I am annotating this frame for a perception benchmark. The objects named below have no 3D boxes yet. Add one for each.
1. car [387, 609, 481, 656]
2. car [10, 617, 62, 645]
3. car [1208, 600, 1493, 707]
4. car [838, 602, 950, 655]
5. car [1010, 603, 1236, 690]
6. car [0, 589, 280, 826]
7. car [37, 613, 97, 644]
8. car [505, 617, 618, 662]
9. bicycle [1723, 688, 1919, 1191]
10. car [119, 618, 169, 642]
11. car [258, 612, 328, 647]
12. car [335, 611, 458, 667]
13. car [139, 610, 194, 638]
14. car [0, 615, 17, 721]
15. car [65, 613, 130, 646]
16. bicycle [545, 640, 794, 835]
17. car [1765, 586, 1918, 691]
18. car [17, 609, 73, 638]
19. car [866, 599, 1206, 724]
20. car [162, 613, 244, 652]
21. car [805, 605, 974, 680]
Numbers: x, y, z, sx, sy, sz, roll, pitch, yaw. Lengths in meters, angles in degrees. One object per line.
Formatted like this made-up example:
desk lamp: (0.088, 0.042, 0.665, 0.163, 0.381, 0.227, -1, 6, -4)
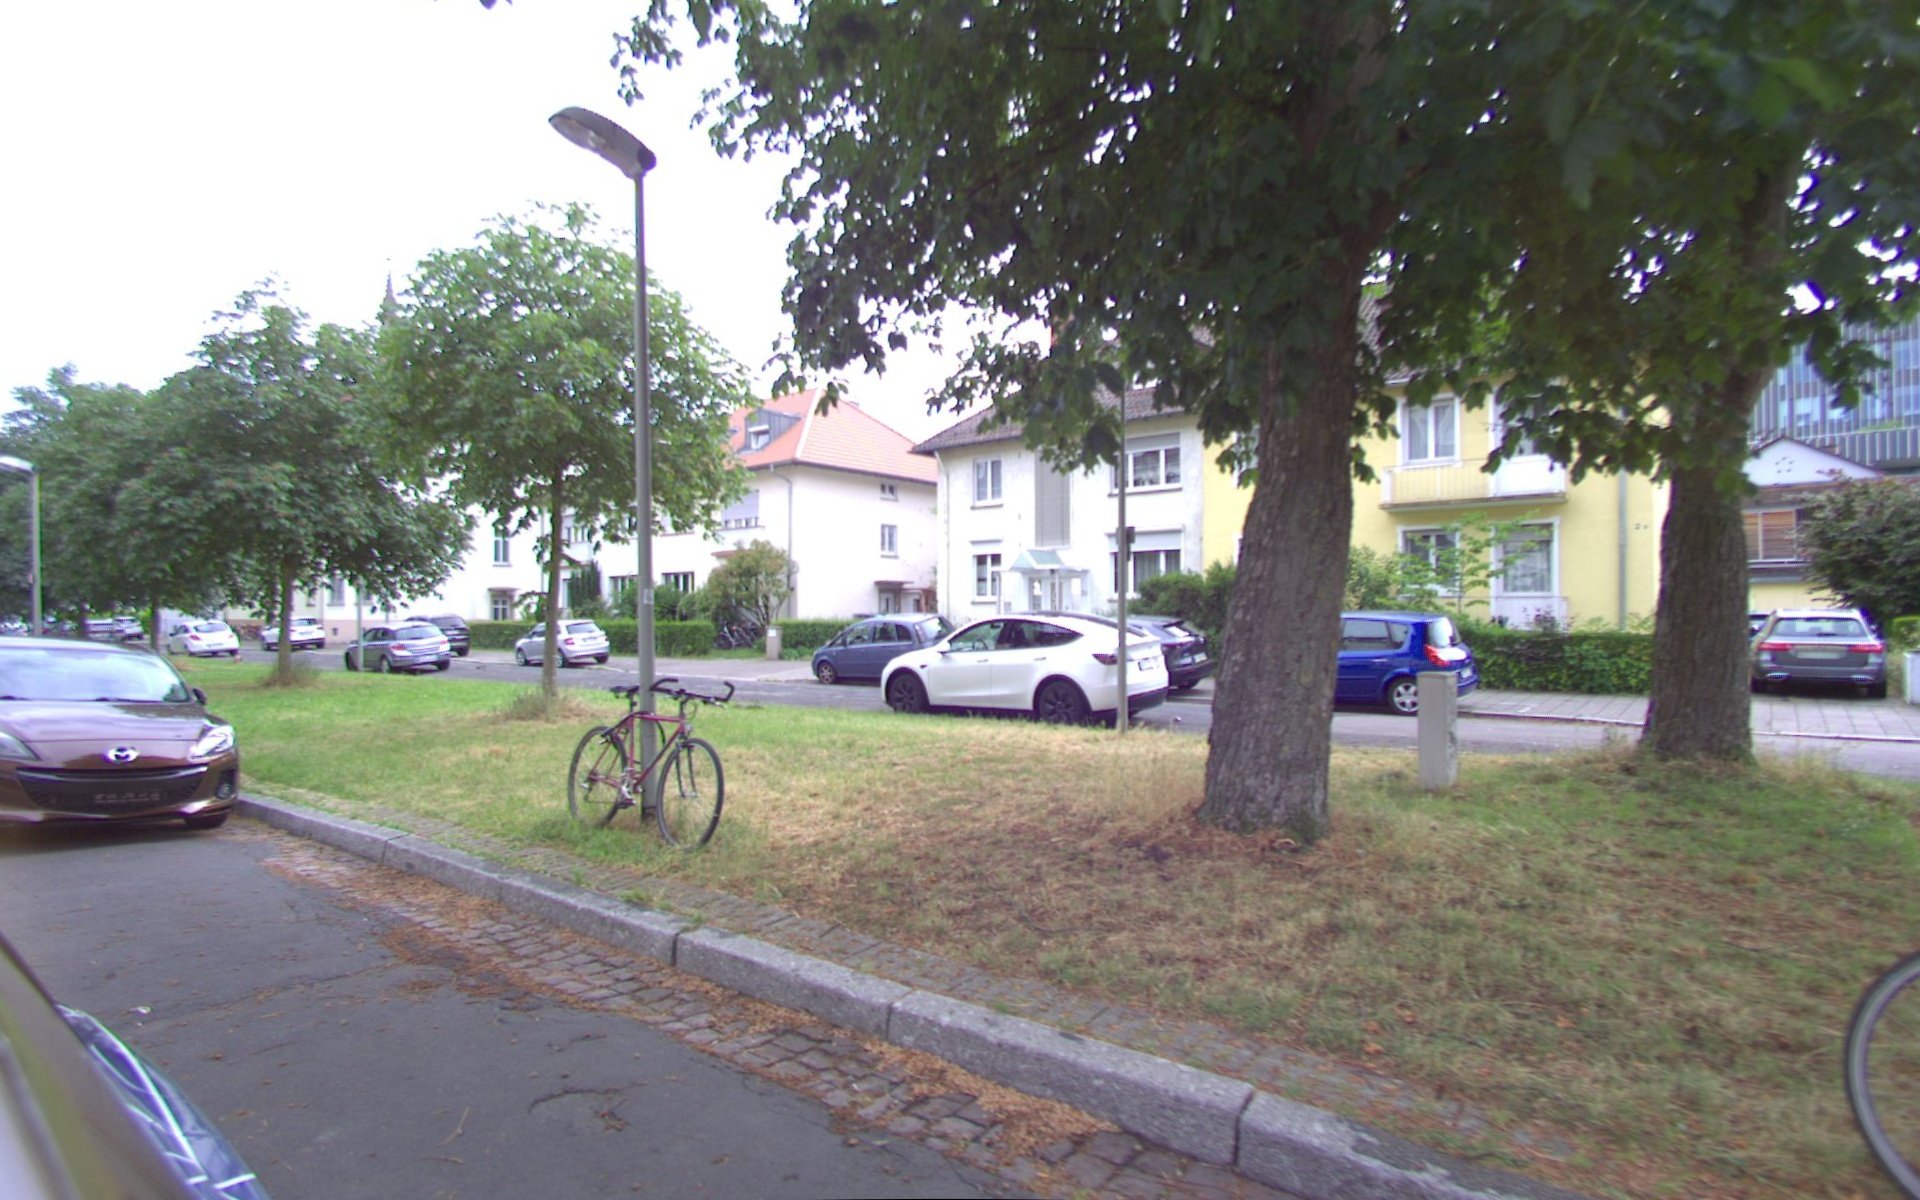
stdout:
car: (-20.982, 1.273, 40.285, 4.097, 1.686, 1.782, -1, 2, 39)
car: (-59.582, 1.982, 65.247, 4.002, 1.652, 1.945, -1, 0, 39)
car: (6.563, 0.839, 17.302, 4.210, 1.578, 1.681, -1, 0, 43)
car: (-2.422, 1.030, 38.006, 1.998, 1.741, 3.947, -2, 1, 40)
car: (3.208, 0.892, 20.322, 4.162, 1.511, 1.697, -2, 1, 39)
car: (-7.205, 0.772, 8.114, 4.158, 1.469, 1.694, -2, -6, 39)
car: (-51.190, 1.609, 57.995, 4.002, 1.652, 1.945, -1, 0, 39)
car: (-13.223, 1.272, 33.477, 3.937, 1.365, 1.782, -1, 0, 39)
bicycle: (2.771, 0.711, 1.837, 2.178, 0.993, 0.506, -2, 1, 37)
car: (-57.526, 2.099, 71.352, 4.002, 1.652, 1.945, -1, 0, 39)
car: (-32.930, 1.429, 49.953, 4.002, 1.619, 1.782, -1, 0, 39)
car: (-16.499, 1.109, 29.568, 4.002, 1.499, 1.782, -1, 0, 39)
car: (-52.111, 1.565, 66.430, 4.002, 1.651, 1.945, -1, 2, 39)
car: (-15.601, 0.937, 15.003, 4.443, 1.469, 1.694, -2, -6, 39)
car: (-45.860, 1.544, 53.764, 4.002, 1.652, 1.945, -1, 0, 39)
bicycle: (-1.949, 0.818, 6.630, 1.884, 1.075, 0.659, -1, -2, 41)
car: (15.385, 0.632, 17.804, 1.841, 1.623, 3.947, -1, -1, 40)
car: (-55.629, 1.408, 61.525, 4.002, 1.652, 1.945, -1, 0, 39)
car: (0.993, 0.829, 15.106, 4.878, 1.578, 1.878, -1, -2, 39)
car: (-30.899, 1.313, 41.273, 4.002, 1.499, 1.782, -1, 0, 39)
car: (-1.740, 0.985, 24.296, 3.880, 1.614, 1.698, -2, 1, 38)
